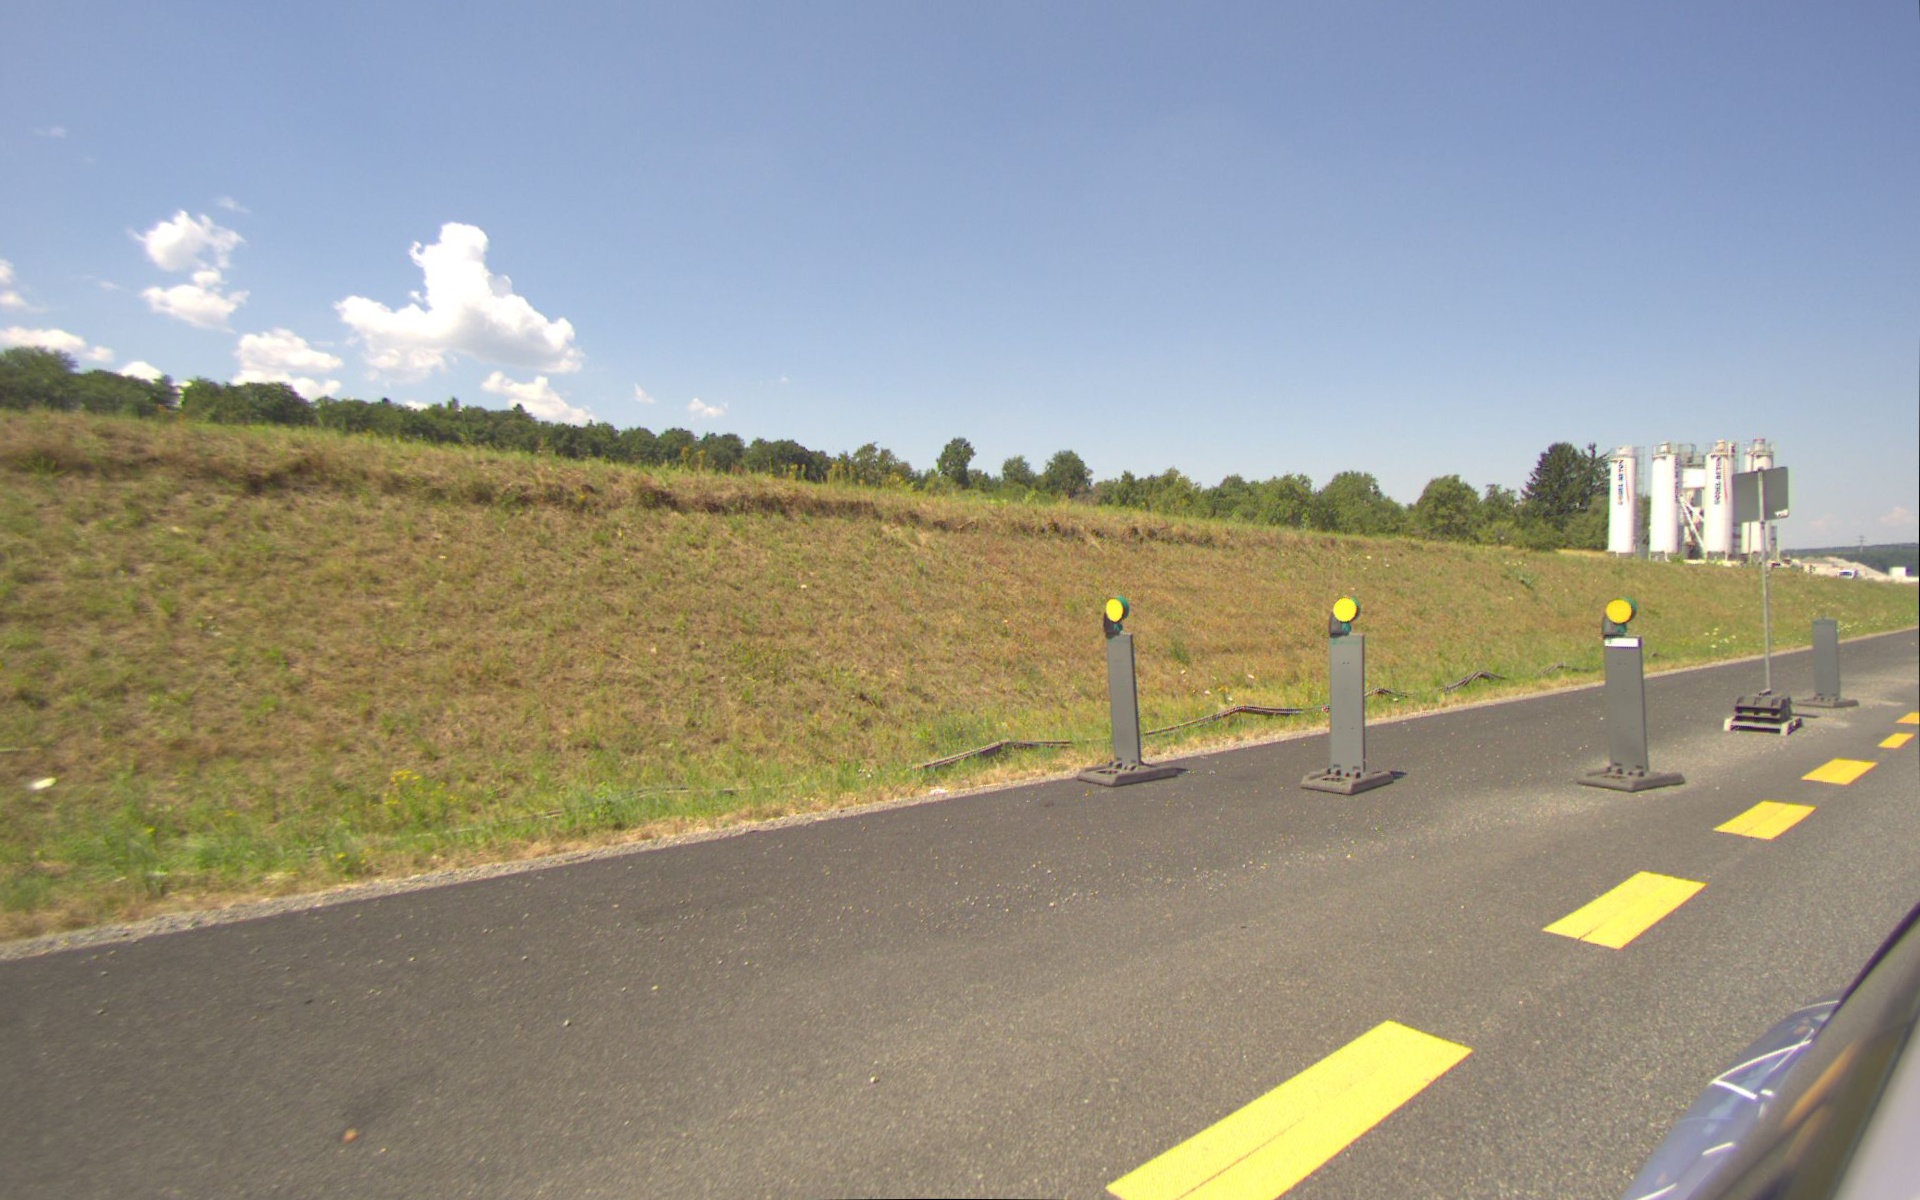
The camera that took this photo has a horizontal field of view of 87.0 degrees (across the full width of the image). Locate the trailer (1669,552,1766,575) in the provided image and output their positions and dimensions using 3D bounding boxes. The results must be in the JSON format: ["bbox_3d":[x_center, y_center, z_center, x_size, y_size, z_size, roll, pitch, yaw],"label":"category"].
[{"bbox_3d":[89.035,-4.222,119.163,2.424,2.639,8.903,-1,2,-43],"label":"trailer"}]

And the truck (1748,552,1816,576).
[{"bbox_3d":[94.088,-4.115,115.895,5.228,2.576,2.894,-1,1,13],"label":"truck"}]
